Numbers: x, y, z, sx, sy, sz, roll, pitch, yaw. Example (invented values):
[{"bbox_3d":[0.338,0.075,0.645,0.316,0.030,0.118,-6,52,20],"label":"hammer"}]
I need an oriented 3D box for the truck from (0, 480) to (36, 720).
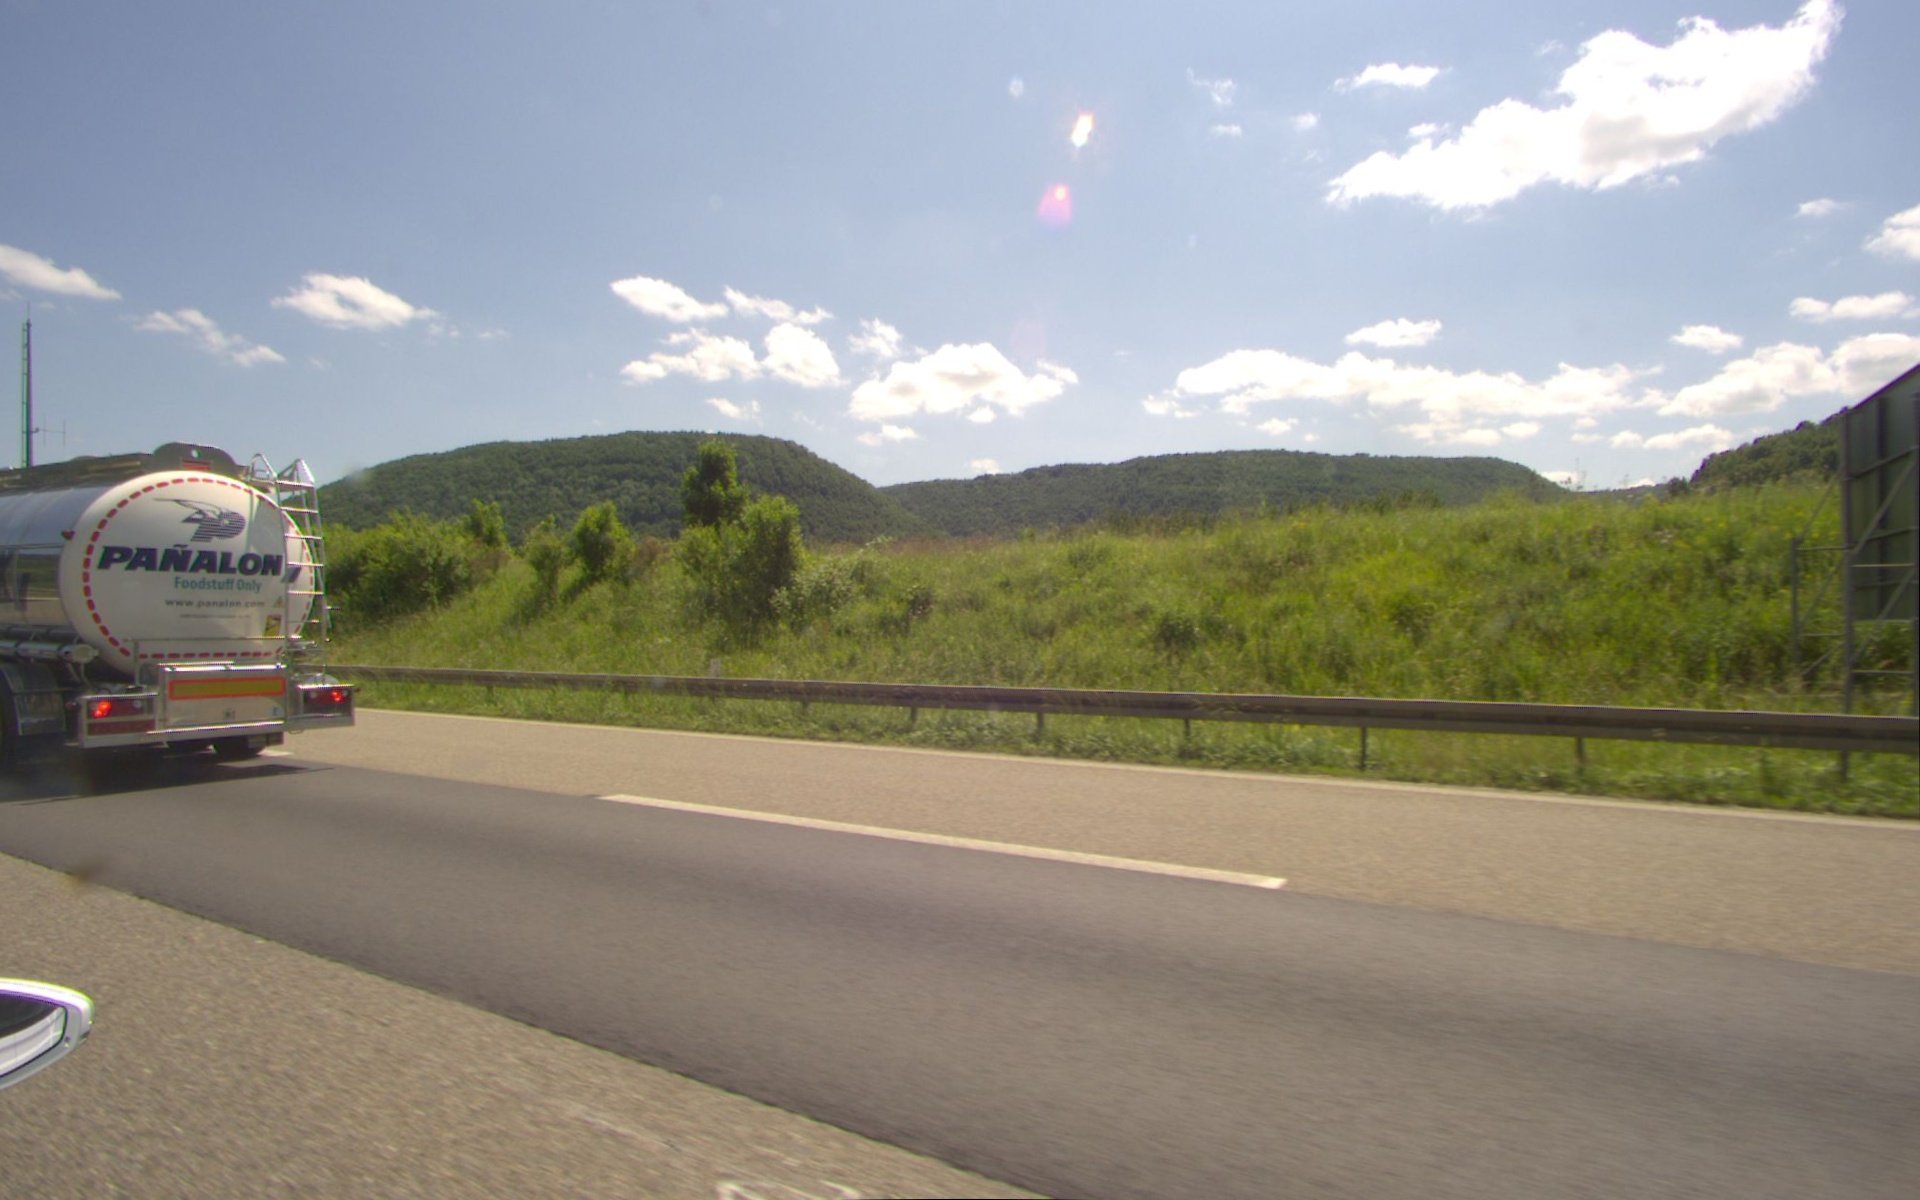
[{"bbox_3d":[-17.855,0.016,16.523,5.169,3.807,2.508,-1,-1,32],"label":"truck"}]

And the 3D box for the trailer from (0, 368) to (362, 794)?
[{"bbox_3d":[-12.246,-0.057,13.047,11.719,3.783,2.534,-1,-1,32],"label":"trailer"}]
